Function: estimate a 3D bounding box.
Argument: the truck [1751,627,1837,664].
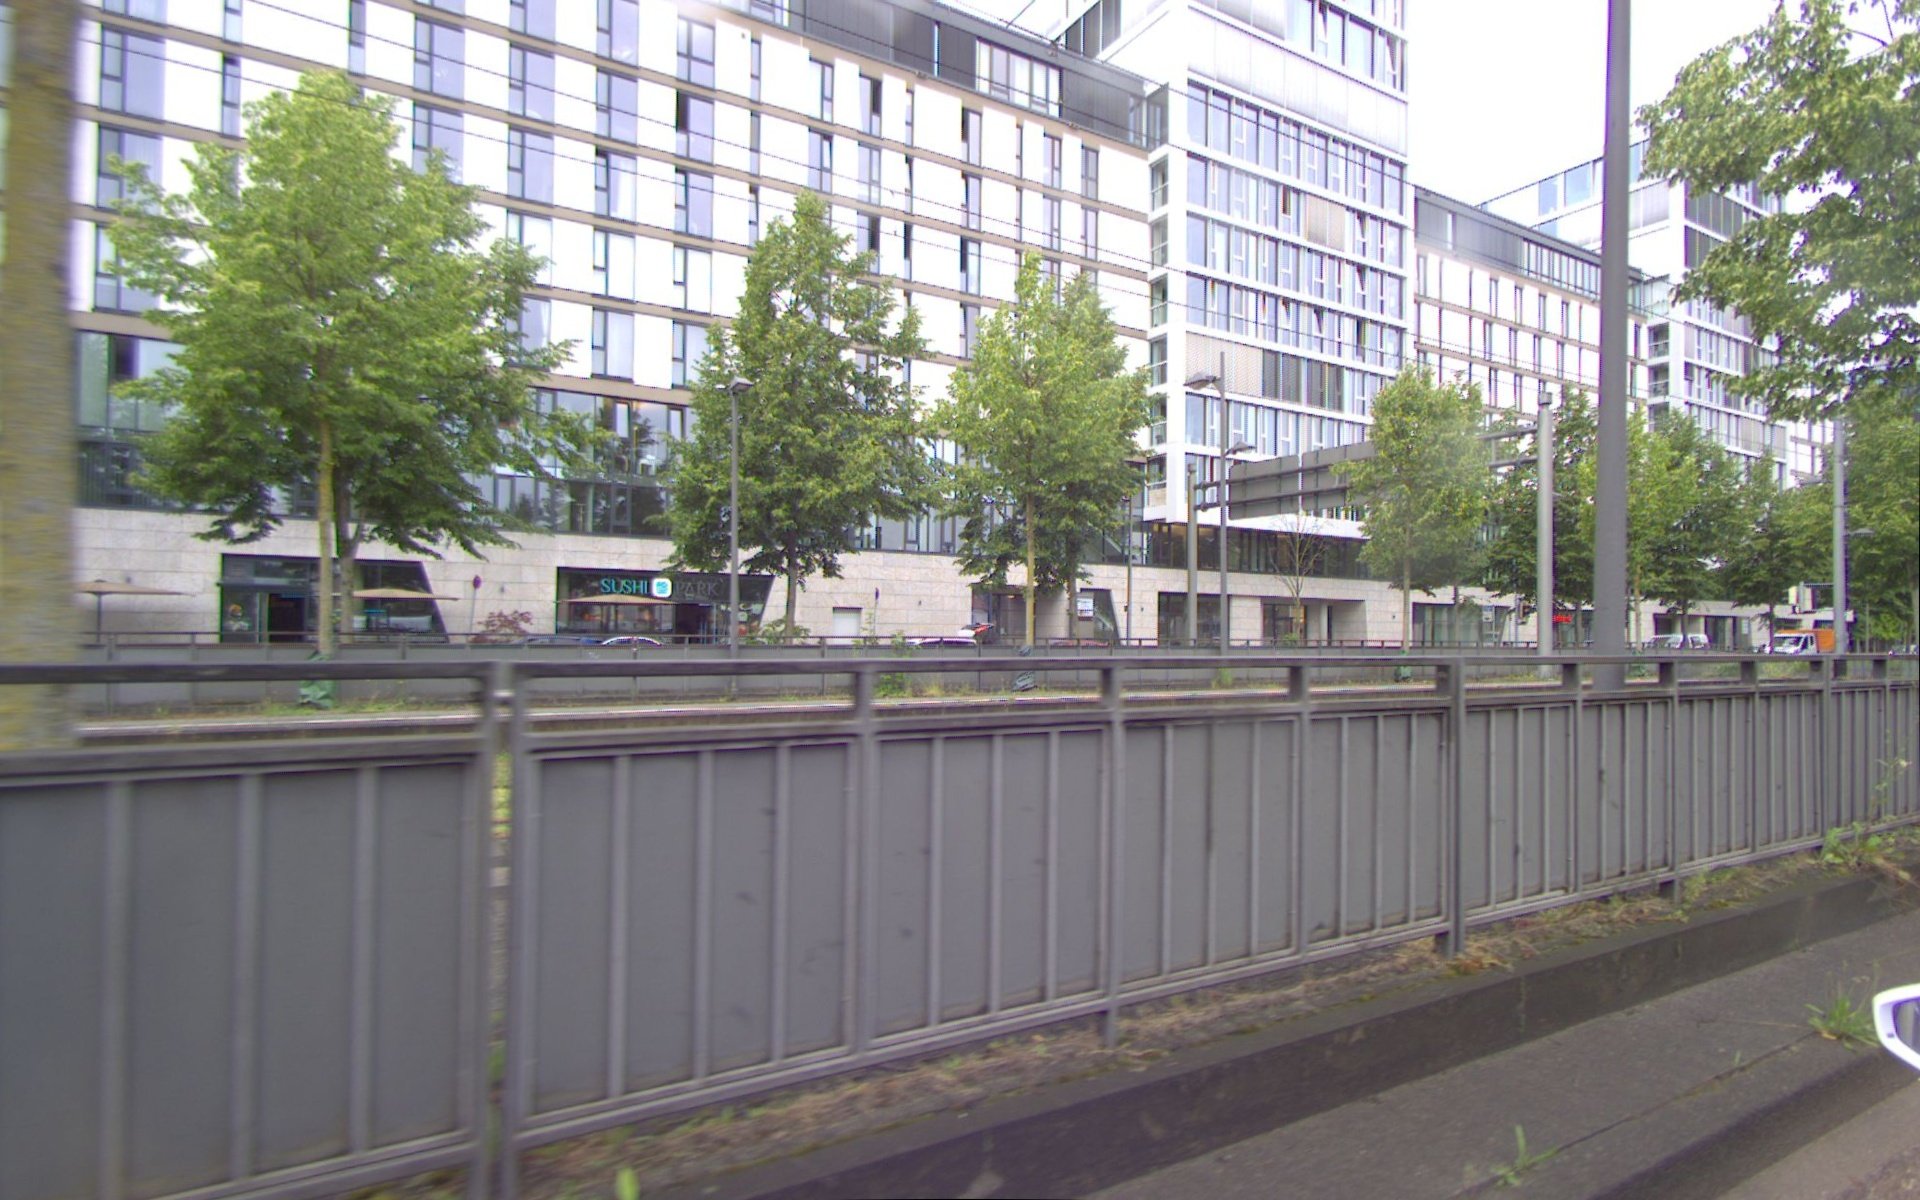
[{"bbox_3d":[54.651,2.987,65.779,6.236,2.322,2.414,2,-2,-31],"label":"truck"}]

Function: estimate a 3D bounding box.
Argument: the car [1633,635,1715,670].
[{"bbox_3d":[40.692,2.957,57.227,5.105,1.876,1.984,2,-2,-31],"label":"car"}]

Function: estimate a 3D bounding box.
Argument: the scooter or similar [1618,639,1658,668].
[{"bbox_3d":[45.987,3.614,68.122,0.876,1.849,2.112,2,-1,-33],"label":"scooter or similar"}]

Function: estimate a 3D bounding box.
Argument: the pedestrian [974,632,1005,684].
[{"bbox_3d":[0.993,1.959,33.866,0.783,1.714,0.708,1,-1,-28],"label":"pedestrian"}]

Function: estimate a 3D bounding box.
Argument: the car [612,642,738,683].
[{"bbox_3d":[-9.749,2.104,34.357,3.813,1.305,1.985,2,-2,-29],"label":"car"}]

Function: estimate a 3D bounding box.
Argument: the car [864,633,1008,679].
[{"bbox_3d":[-0.734,1.728,31.200,4.020,1.305,1.985,2,-2,-29],"label":"car"}]

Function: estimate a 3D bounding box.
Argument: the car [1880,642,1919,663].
[{"bbox_3d":[69.883,3.833,74.149,3.943,1.484,1.846,2,-2,-31],"label":"car"}]

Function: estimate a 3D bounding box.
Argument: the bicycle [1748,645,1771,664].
[{"bbox_3d":[65.539,4.440,82.355,0.540,1.502,1.425,2,-1,-31],"label":"bicycle"}]

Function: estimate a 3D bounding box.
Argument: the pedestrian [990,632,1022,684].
[{"bbox_3d":[1.514,1.912,33.273,0.783,1.714,0.708,1,-1,-28],"label":"pedestrian"}]

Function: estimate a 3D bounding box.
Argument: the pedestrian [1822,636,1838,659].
[{"bbox_3d":[78.091,4.269,90.194,0.843,2.007,0.793,1,-1,-22],"label":"pedestrian"}]

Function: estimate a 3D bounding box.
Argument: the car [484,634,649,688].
[{"bbox_3d":[-10.460,1.629,26.709,3.815,1.305,1.984,3,-2,-31],"label":"car"}]

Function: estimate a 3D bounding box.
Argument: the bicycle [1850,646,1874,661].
[{"bbox_3d":[58.961,3.482,65.634,1.734,0.957,0.597,2,-2,-27],"label":"bicycle"}]
